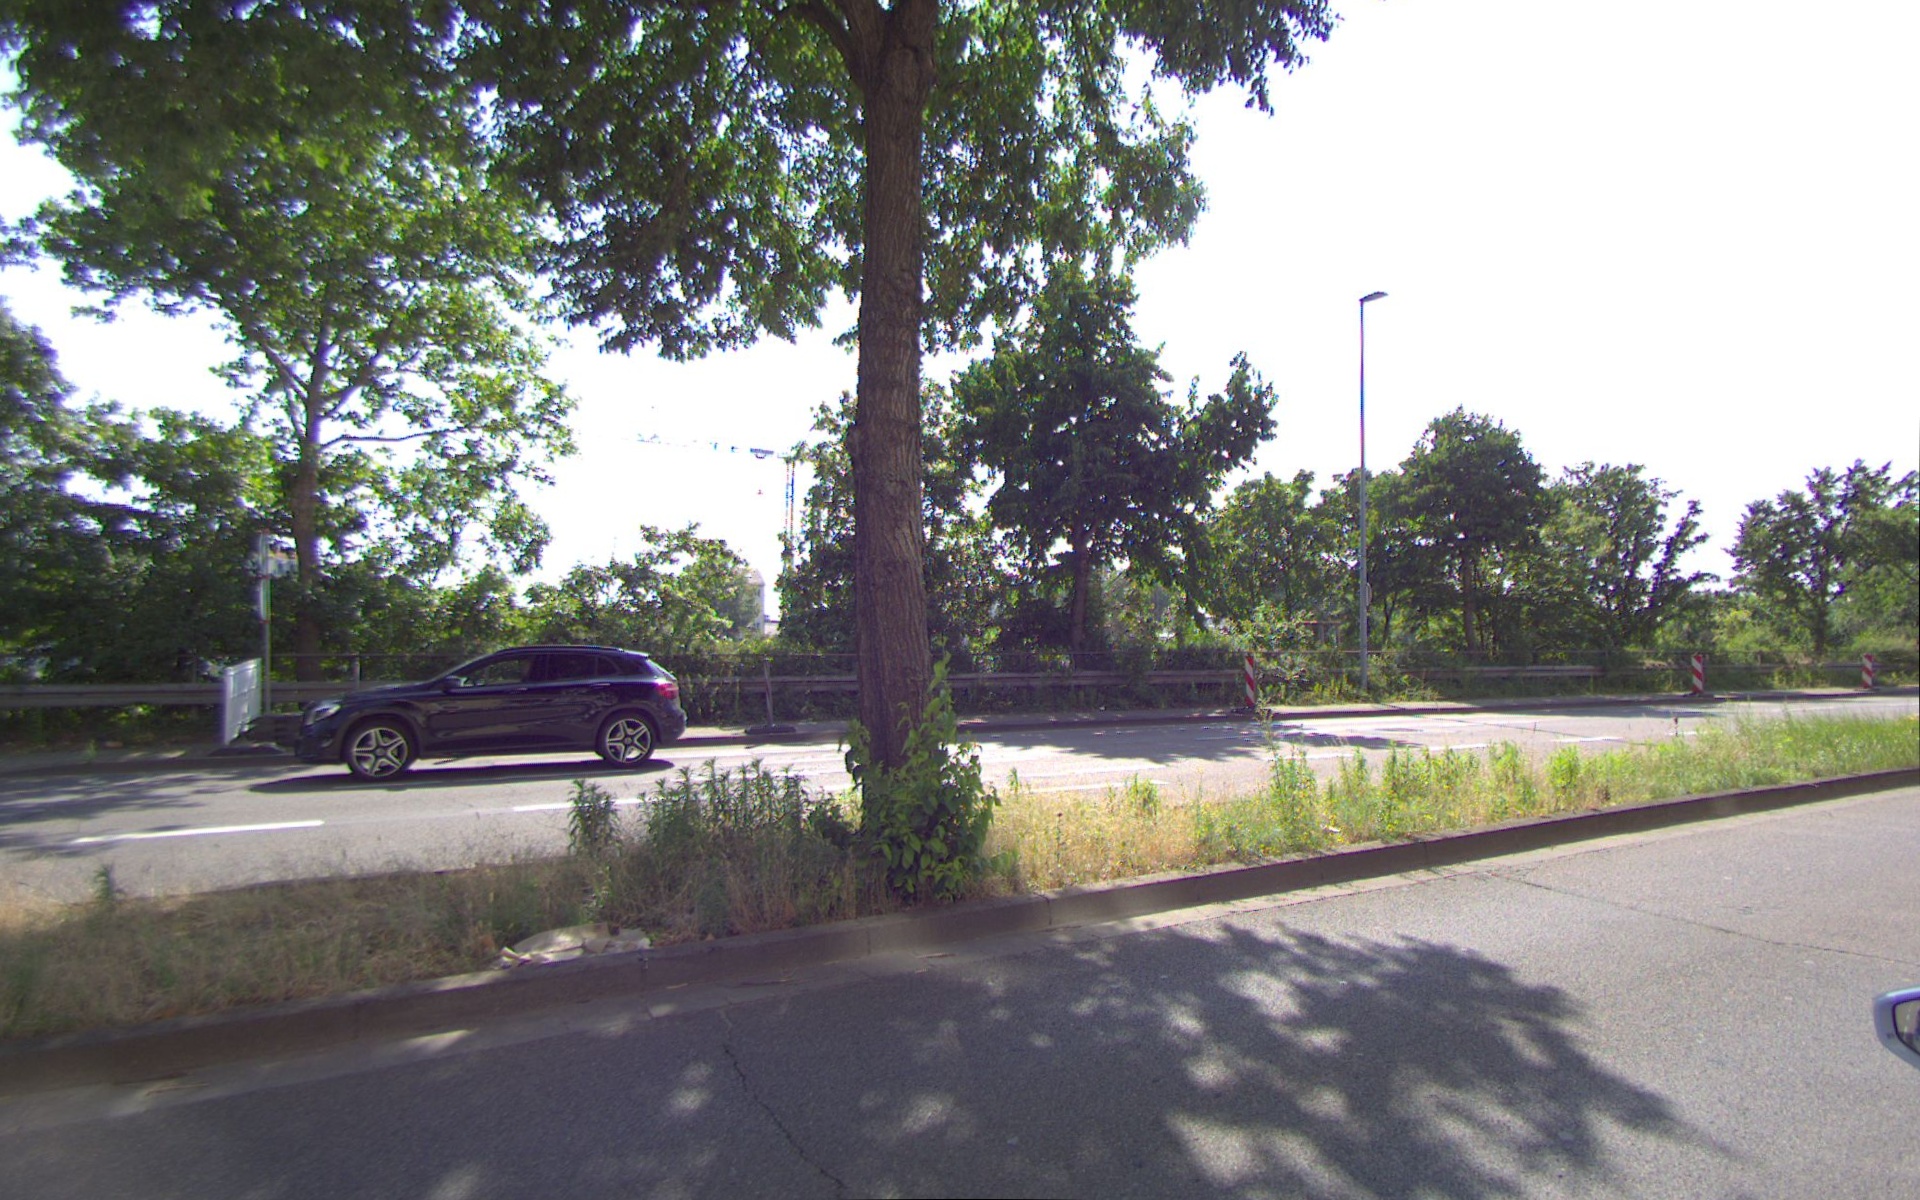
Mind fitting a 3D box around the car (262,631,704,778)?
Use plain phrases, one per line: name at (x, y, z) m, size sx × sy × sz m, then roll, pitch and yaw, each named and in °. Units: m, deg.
car at (-5.774, 1.222, 12.614) m, size 4.639 × 1.548 × 1.986 m, roll 2°, pitch -4°, yaw -28°
